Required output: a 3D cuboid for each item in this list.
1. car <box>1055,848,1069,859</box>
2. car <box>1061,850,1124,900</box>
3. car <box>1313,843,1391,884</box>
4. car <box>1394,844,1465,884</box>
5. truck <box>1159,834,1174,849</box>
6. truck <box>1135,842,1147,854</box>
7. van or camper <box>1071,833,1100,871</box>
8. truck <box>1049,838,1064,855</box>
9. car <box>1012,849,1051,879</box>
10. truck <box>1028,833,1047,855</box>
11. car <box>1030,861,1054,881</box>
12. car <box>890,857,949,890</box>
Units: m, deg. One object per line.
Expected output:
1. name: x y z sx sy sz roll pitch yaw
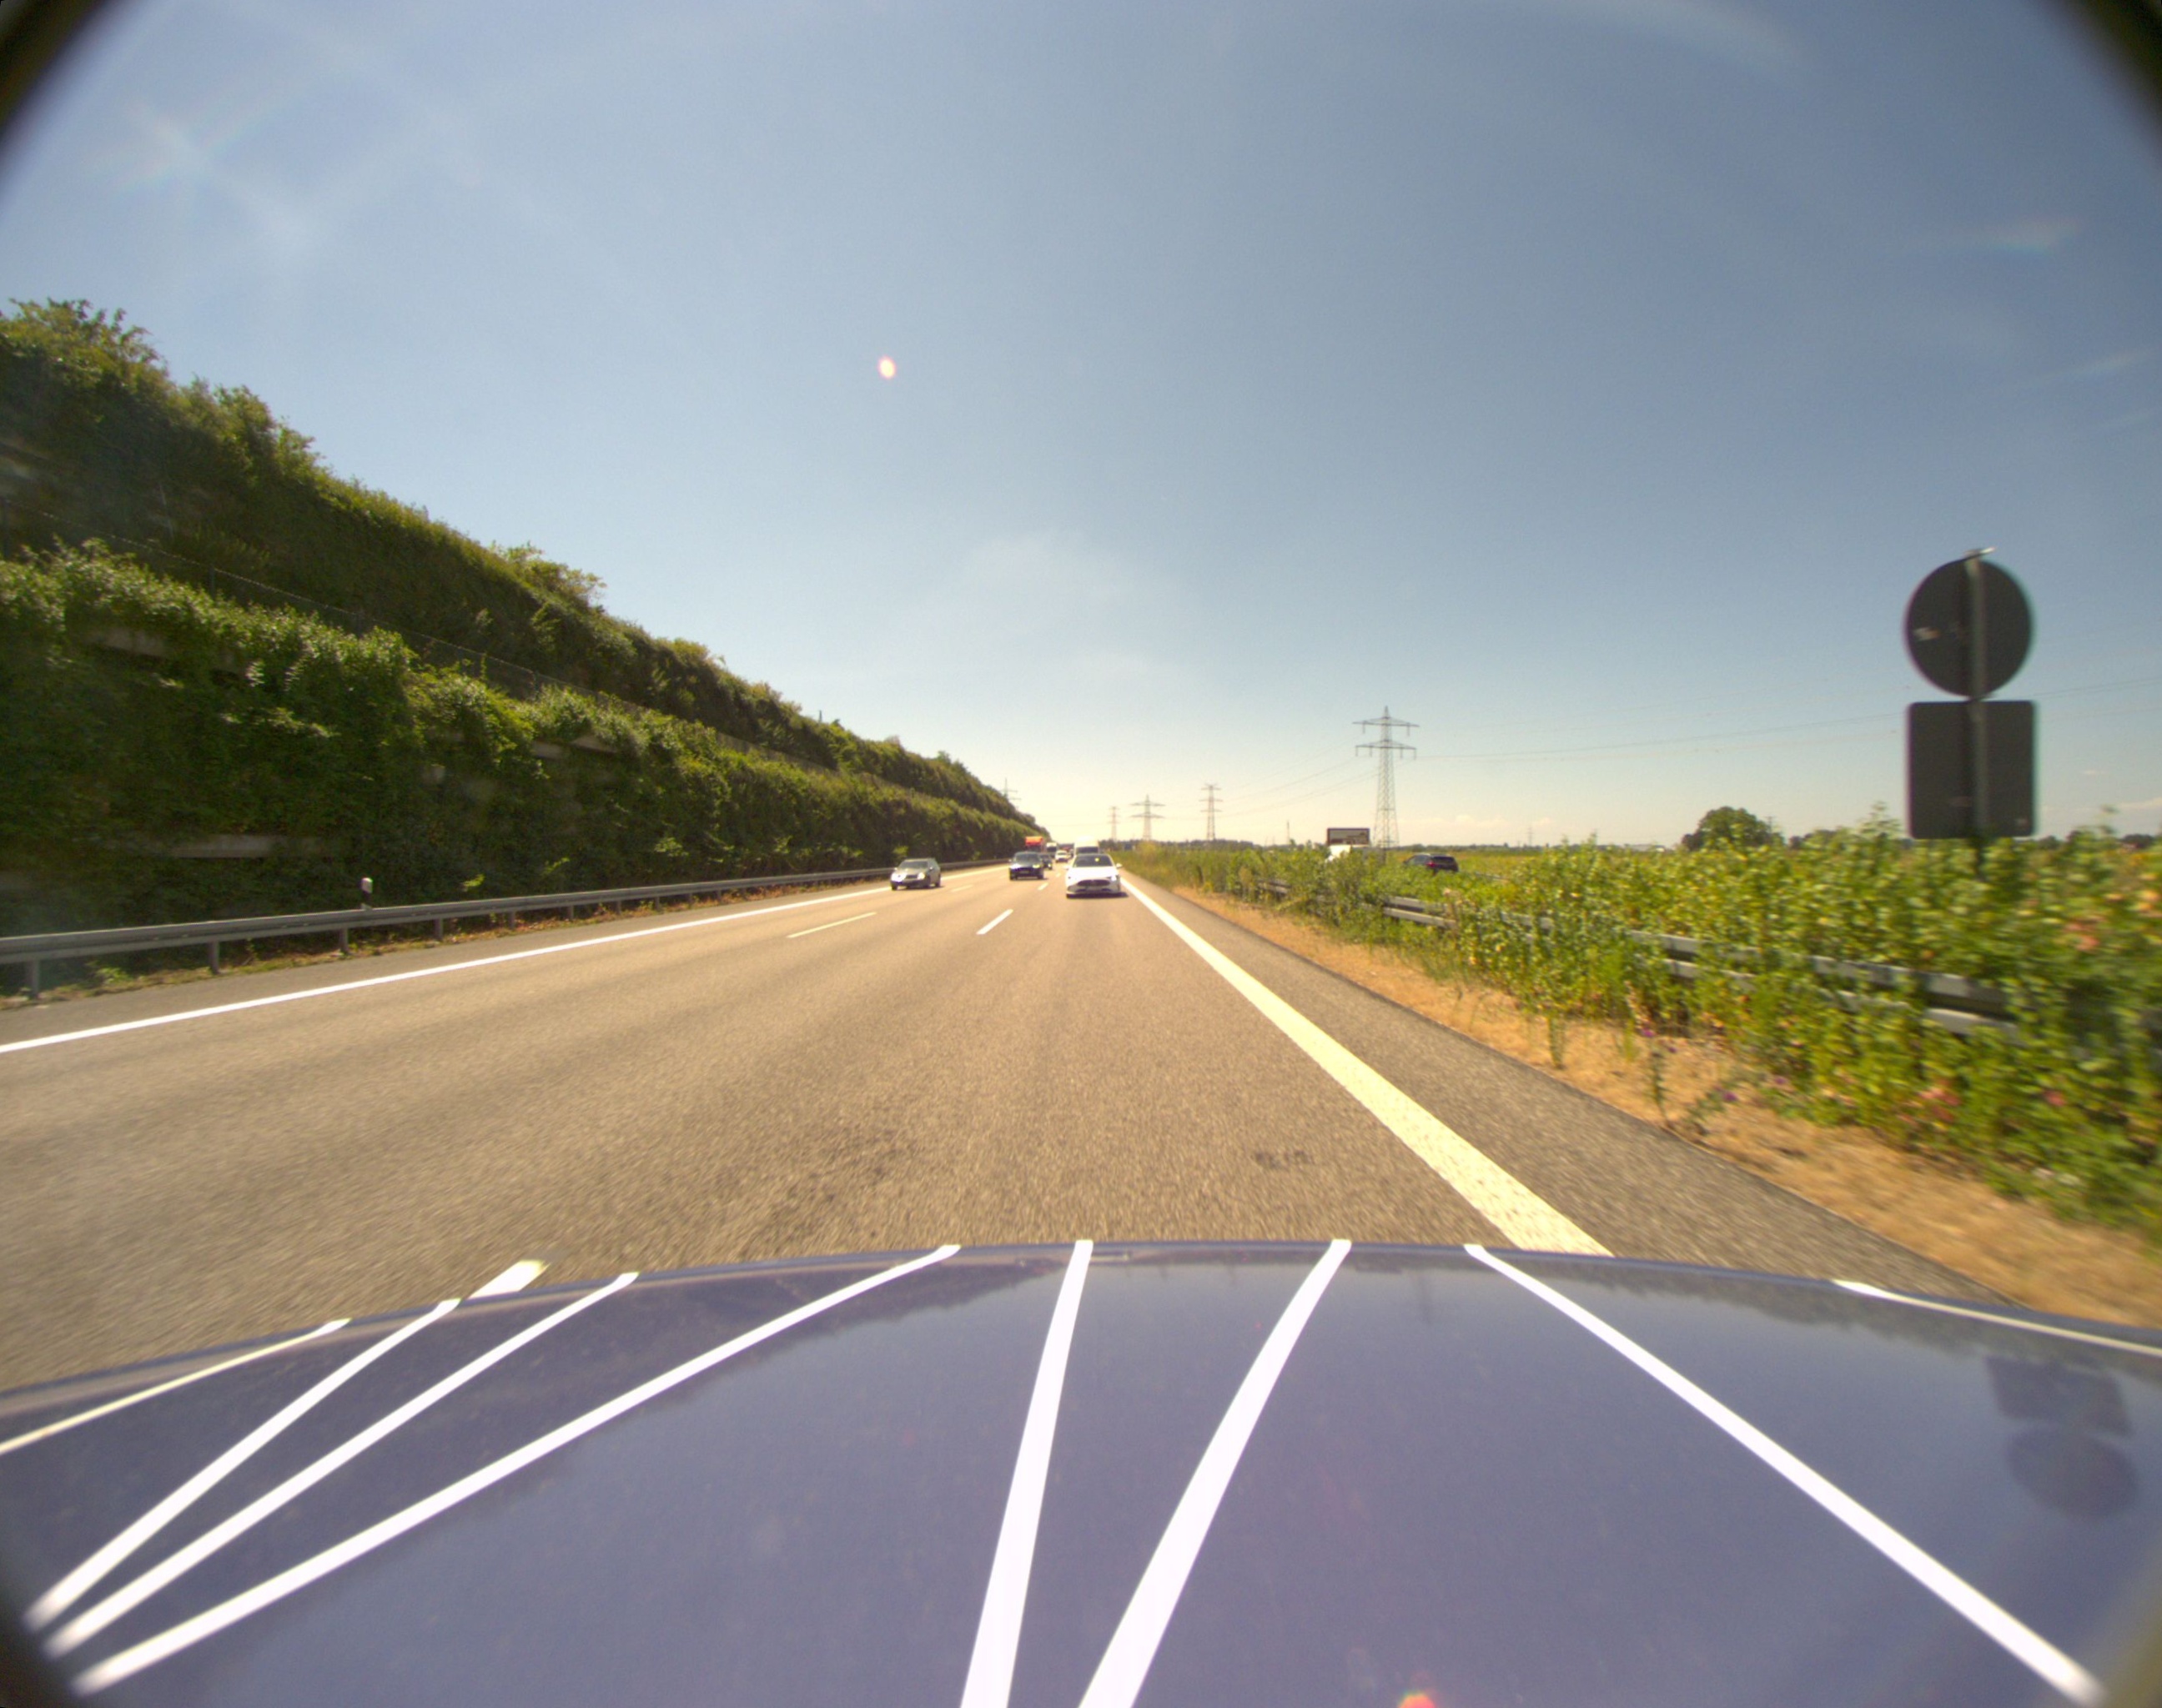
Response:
1. car: -2.765 -0.069 113.501 1.984 1.525 4.137 -1 0 0
2. car: 0.395 0.671 26.852 1.984 1.525 4.558 -2 0 0
3. car: 14.099 0.457 39.896 2.002 1.975 5.838 -1 0 0
4. car: 18.199 0.496 39.915 1.900 1.967 3.986 -1 1 0
5. truck: 23.905 -3.524 212.688 3.214 4.060 9.648 0 1 2
6. truck: 19.421 -1.989 246.216 3.214 4.060 9.648 0 1 2
7. van or camper: 0.424 -0.163 58.965 1.998 2.741 5.410 -2 1 2
8. truck: -5.817 -1.863 181.933 3.507 3.891 9.646 0 1 -1
9. car: -2.928 0.543 45.863 1.984 1.671 4.558 -1 0 0
10. truck: -6.632 -1.576 116.278 2.581 3.205 5.712 -2 1 0
11. car: -3.567 1.515 70.250 1.984 1.671 4.558 -1 0 0
12. car: -7.733 0.891 36.818 1.840 1.403 4.558 -2 0 0
